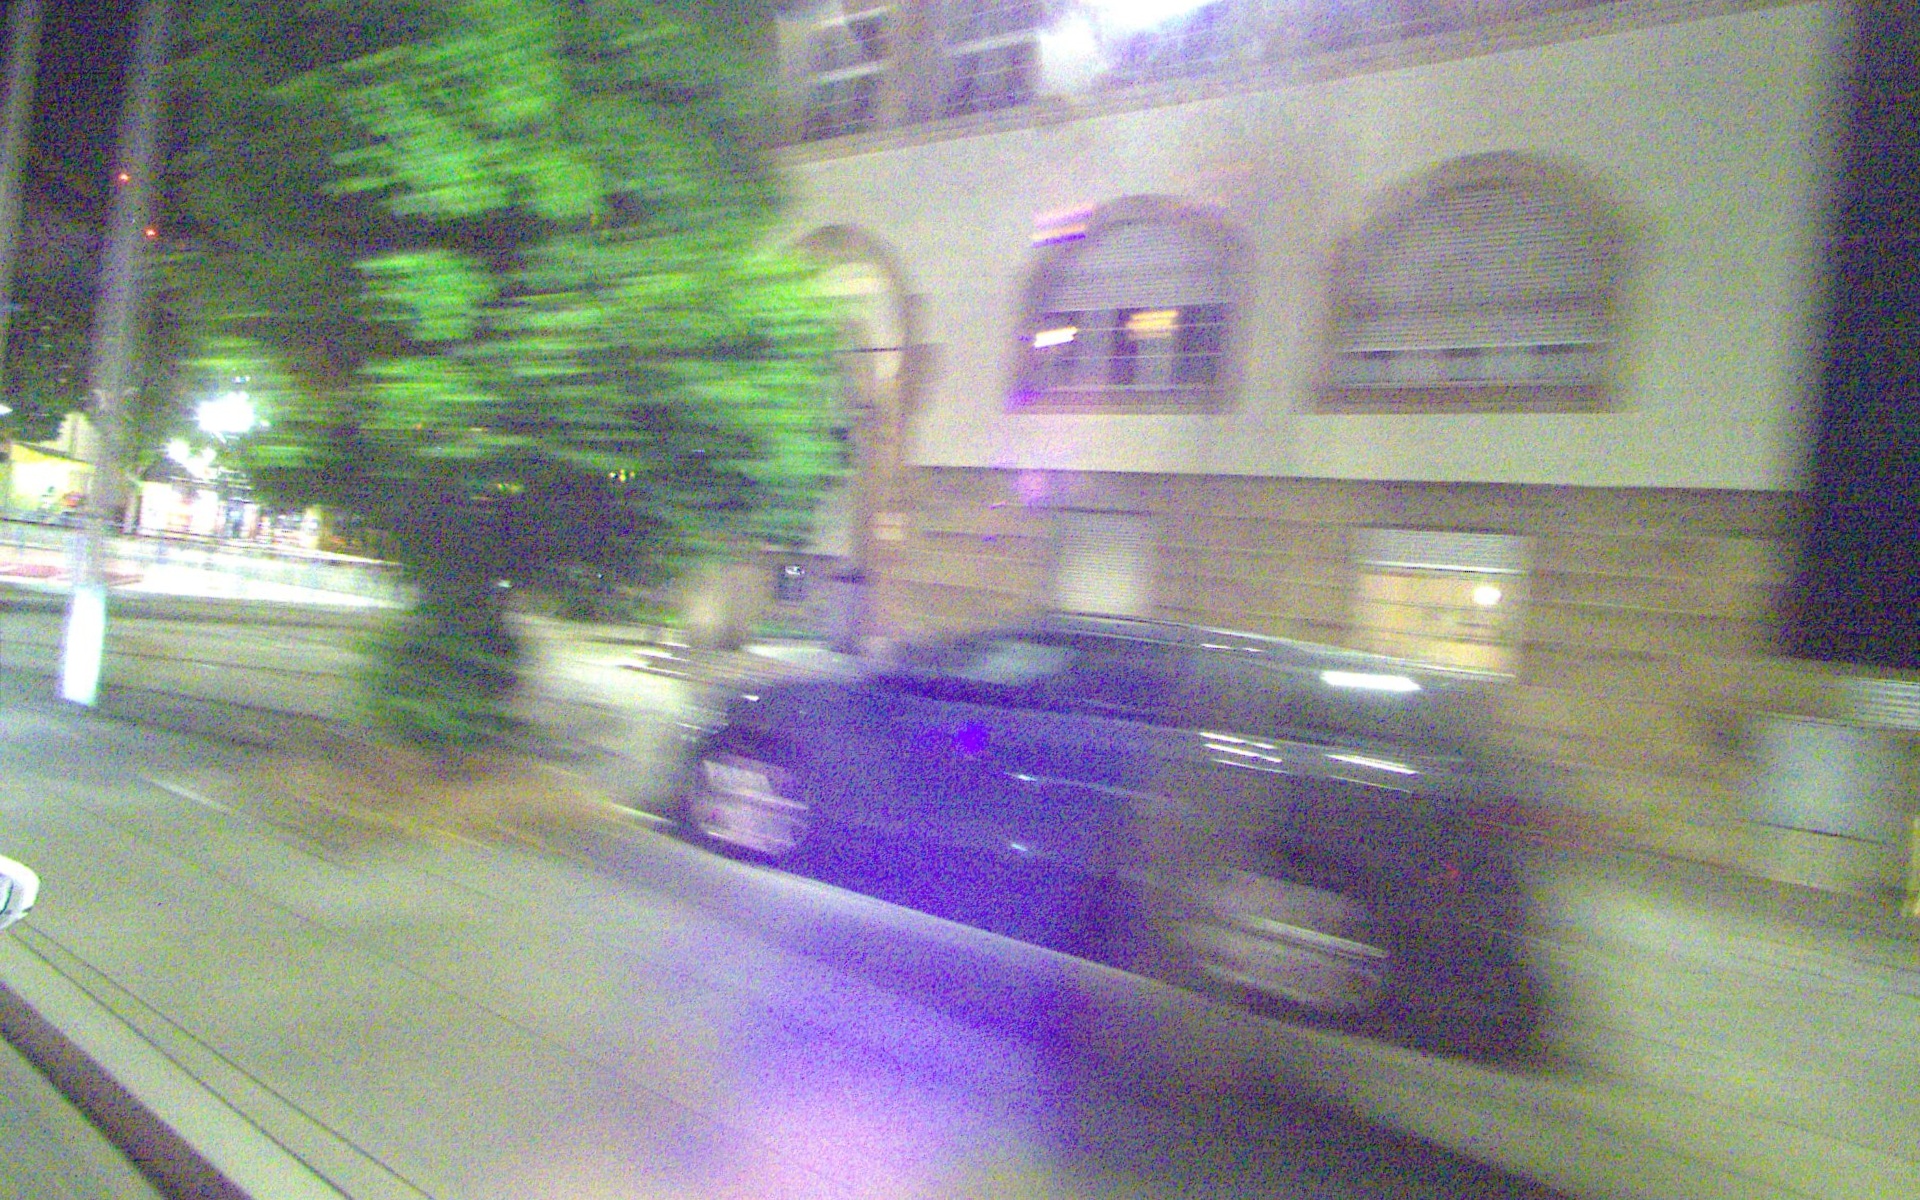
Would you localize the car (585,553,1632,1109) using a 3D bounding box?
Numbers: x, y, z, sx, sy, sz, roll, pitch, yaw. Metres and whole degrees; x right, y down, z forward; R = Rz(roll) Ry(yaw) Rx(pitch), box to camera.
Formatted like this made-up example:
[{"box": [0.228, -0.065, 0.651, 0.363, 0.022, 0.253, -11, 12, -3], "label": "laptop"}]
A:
[{"box": [0.478, 0.783, 5.177, 4.645, 1.477, 1.738, 7, -1, 28], "label": "car"}]
